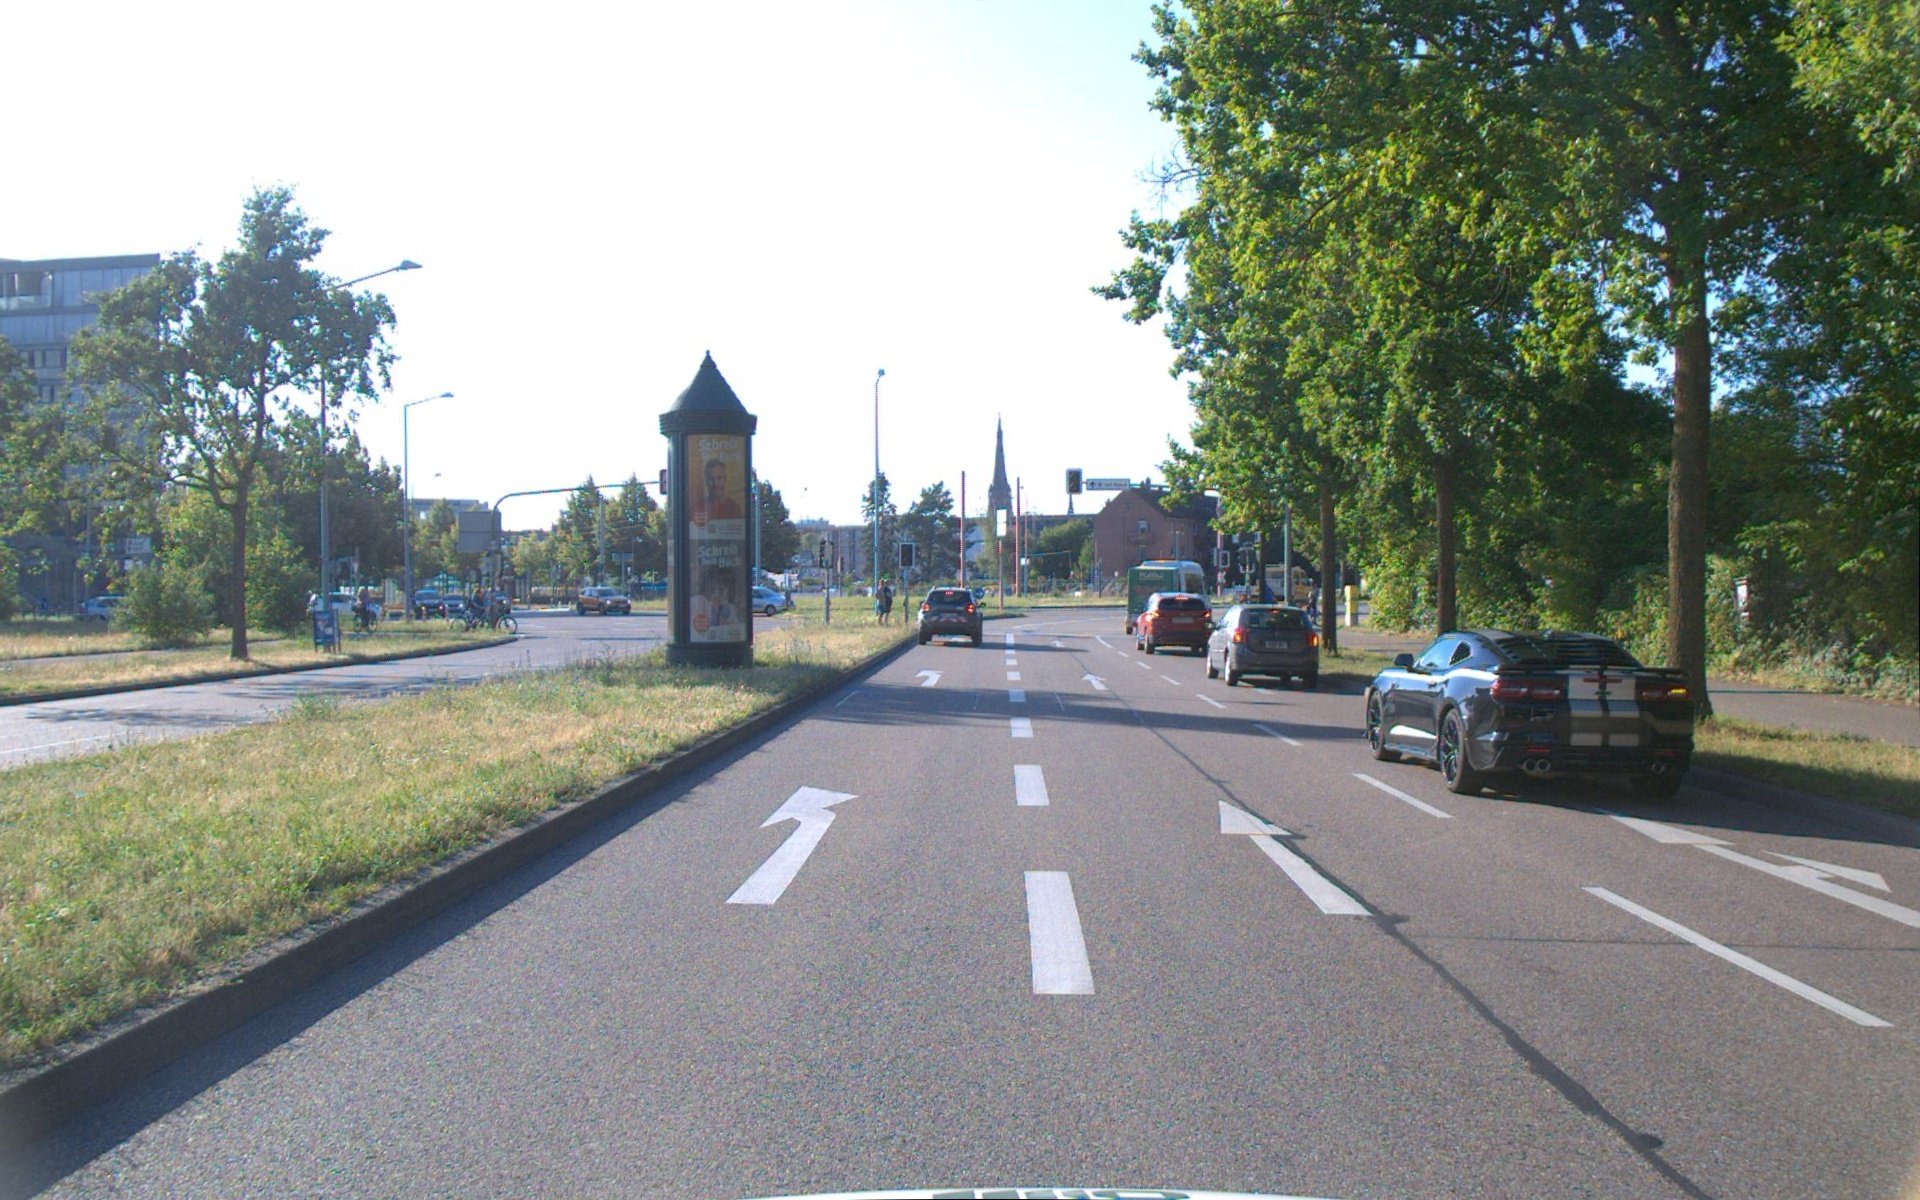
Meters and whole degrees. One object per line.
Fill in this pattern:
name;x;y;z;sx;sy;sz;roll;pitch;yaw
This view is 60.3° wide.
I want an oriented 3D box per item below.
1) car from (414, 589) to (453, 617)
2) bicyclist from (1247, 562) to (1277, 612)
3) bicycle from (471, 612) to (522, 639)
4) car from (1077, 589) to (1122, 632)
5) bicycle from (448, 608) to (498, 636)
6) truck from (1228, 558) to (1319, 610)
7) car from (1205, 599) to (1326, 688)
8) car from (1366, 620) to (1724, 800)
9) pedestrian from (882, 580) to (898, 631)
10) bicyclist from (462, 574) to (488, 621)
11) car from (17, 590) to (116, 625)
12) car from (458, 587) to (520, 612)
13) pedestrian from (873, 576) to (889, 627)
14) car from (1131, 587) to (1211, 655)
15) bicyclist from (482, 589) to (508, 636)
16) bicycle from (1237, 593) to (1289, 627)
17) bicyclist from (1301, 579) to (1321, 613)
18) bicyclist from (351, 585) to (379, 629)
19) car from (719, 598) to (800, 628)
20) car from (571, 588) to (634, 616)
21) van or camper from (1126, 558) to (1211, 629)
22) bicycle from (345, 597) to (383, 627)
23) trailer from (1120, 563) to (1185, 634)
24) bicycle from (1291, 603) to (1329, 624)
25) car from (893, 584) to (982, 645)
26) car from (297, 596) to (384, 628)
car;-29.201;0.144;91.769;1.638;1.466;3.605;-2;1;-12
bicyclist;11.778;-0.507;64.515;0.921;1.932;0.598;-2;0;38
bicycle;-18.107;0.995;64.646;1.867;1.037;0.505;1;0;9
car;5.526;0.395;65.967;1.568;1.638;4.001;0;1;2
bicycle;-18.658;0.853;63.387;1.868;1.037;0.505;1;0;17
truck;16.618;-0.865;87.353;2.534;2.602;6.234;0;1;33
car;5.711;0.773;31.347;1.711;1.499;3.821;-1;1;2
car;5.028;0.875;14.939;1.815;1.361;4.626;0;-1;3
pedestrian;-2.609;0.207;61.738;0.475;1.876;0.672;-1;0;5
bicyclist;-18.581;-0.106;63.367;0.796;1.801;0.496;1;0;17
car;-40.994;0.327;75.924;3.676;1.534;1.847;-1;1;-41
car;-28.316;-0.013;99.350;4.076;1.400;1.662;-1;1;43
pedestrian;-2.911;0.057;60.738;0.475;1.876;0.720;0;0;6
car;5.717;0.525;45.128;1.711;1.649;3.821;3;1;2
bicyclist;-18.181;0.498;64.683;0.795;1.820;0.497;1;0;9
bicycle;11.814;0.385;64.505;1.873;1.266;0.606;-2;0;38
bicyclist;13.959;-0.163;65.815;0.638;1.317;0.464;-1;1;-16
bicyclist;-23.196;0.251;64.477;0.705;1.695;0.817;-1;1;-45
car;-10.164;0.656;83.856;3.668;1.459;1.837;-1;1;18
car;-19.710;0.076;91.070;1.888;1.470;4.086;-1;1;-36
van or camper;8.389;-0.298;66.008;2.236;2.675;6.587;1;1;17
bicycle;-23.274;0.477;64.558;0.720;1.138;1.794;-1;0;-44
trailer;7.026;-0.074;60.143;2.045;2.442;3.504;1;1;12
bicycle;13.939;0.543;65.815;1.436;0.800;0.438;-2;1;-17
car;-0.708;0.396;48.515;1.872;1.689;3.987;-1;0;-12
car;-31.078;0.591;82.960;3.915;1.534;1.833;-1;1;-26
